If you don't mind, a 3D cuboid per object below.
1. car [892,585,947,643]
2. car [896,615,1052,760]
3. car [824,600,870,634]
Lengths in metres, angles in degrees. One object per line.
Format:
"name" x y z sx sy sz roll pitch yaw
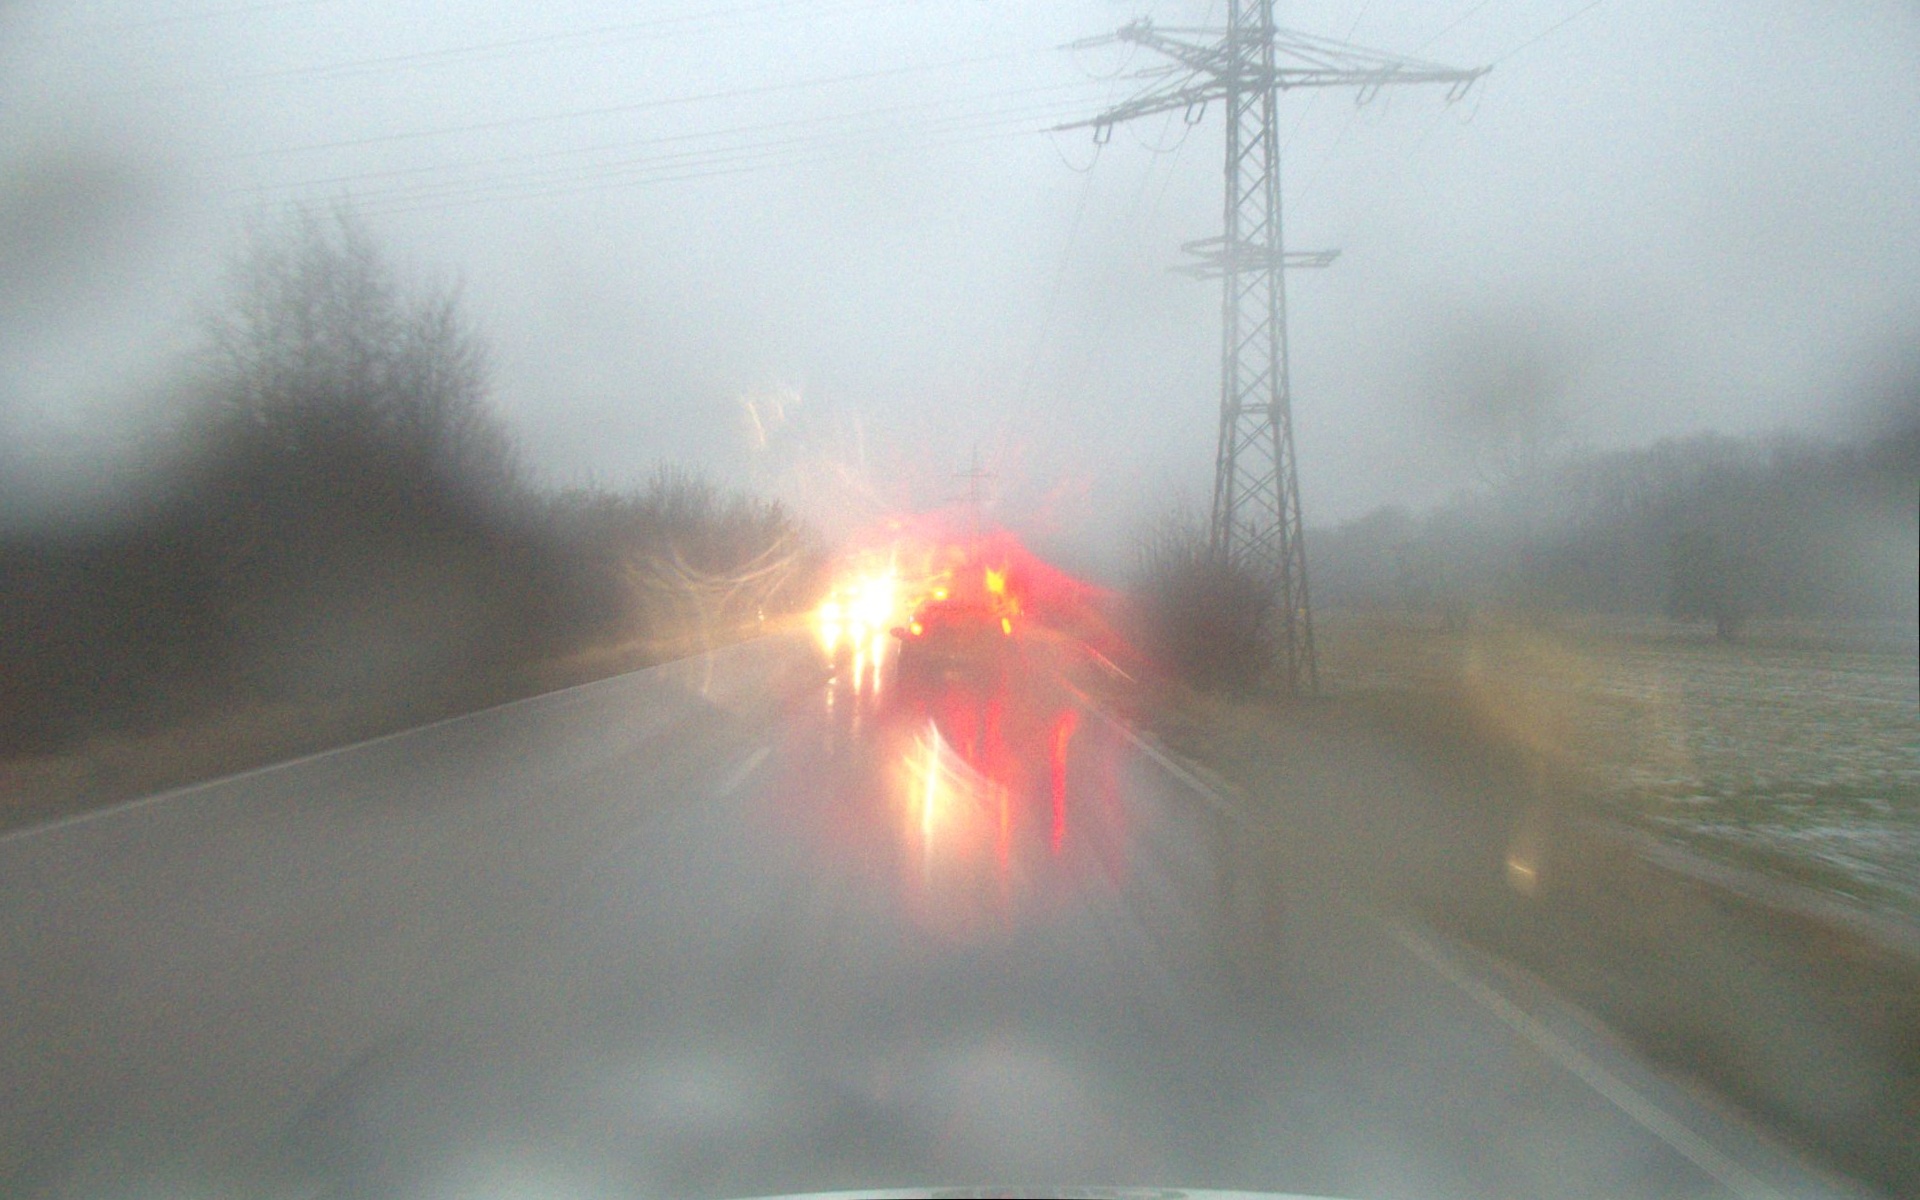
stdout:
"car" -1.456 0.486 60.489 1.953 2.049 3.999 0 0 -1
"car" 0.148 1.123 22.758 1.953 1.783 3.999 0 0 -1
"car" -5.060 0.802 74.508 1.791 1.434 3.999 1 -2 -1
